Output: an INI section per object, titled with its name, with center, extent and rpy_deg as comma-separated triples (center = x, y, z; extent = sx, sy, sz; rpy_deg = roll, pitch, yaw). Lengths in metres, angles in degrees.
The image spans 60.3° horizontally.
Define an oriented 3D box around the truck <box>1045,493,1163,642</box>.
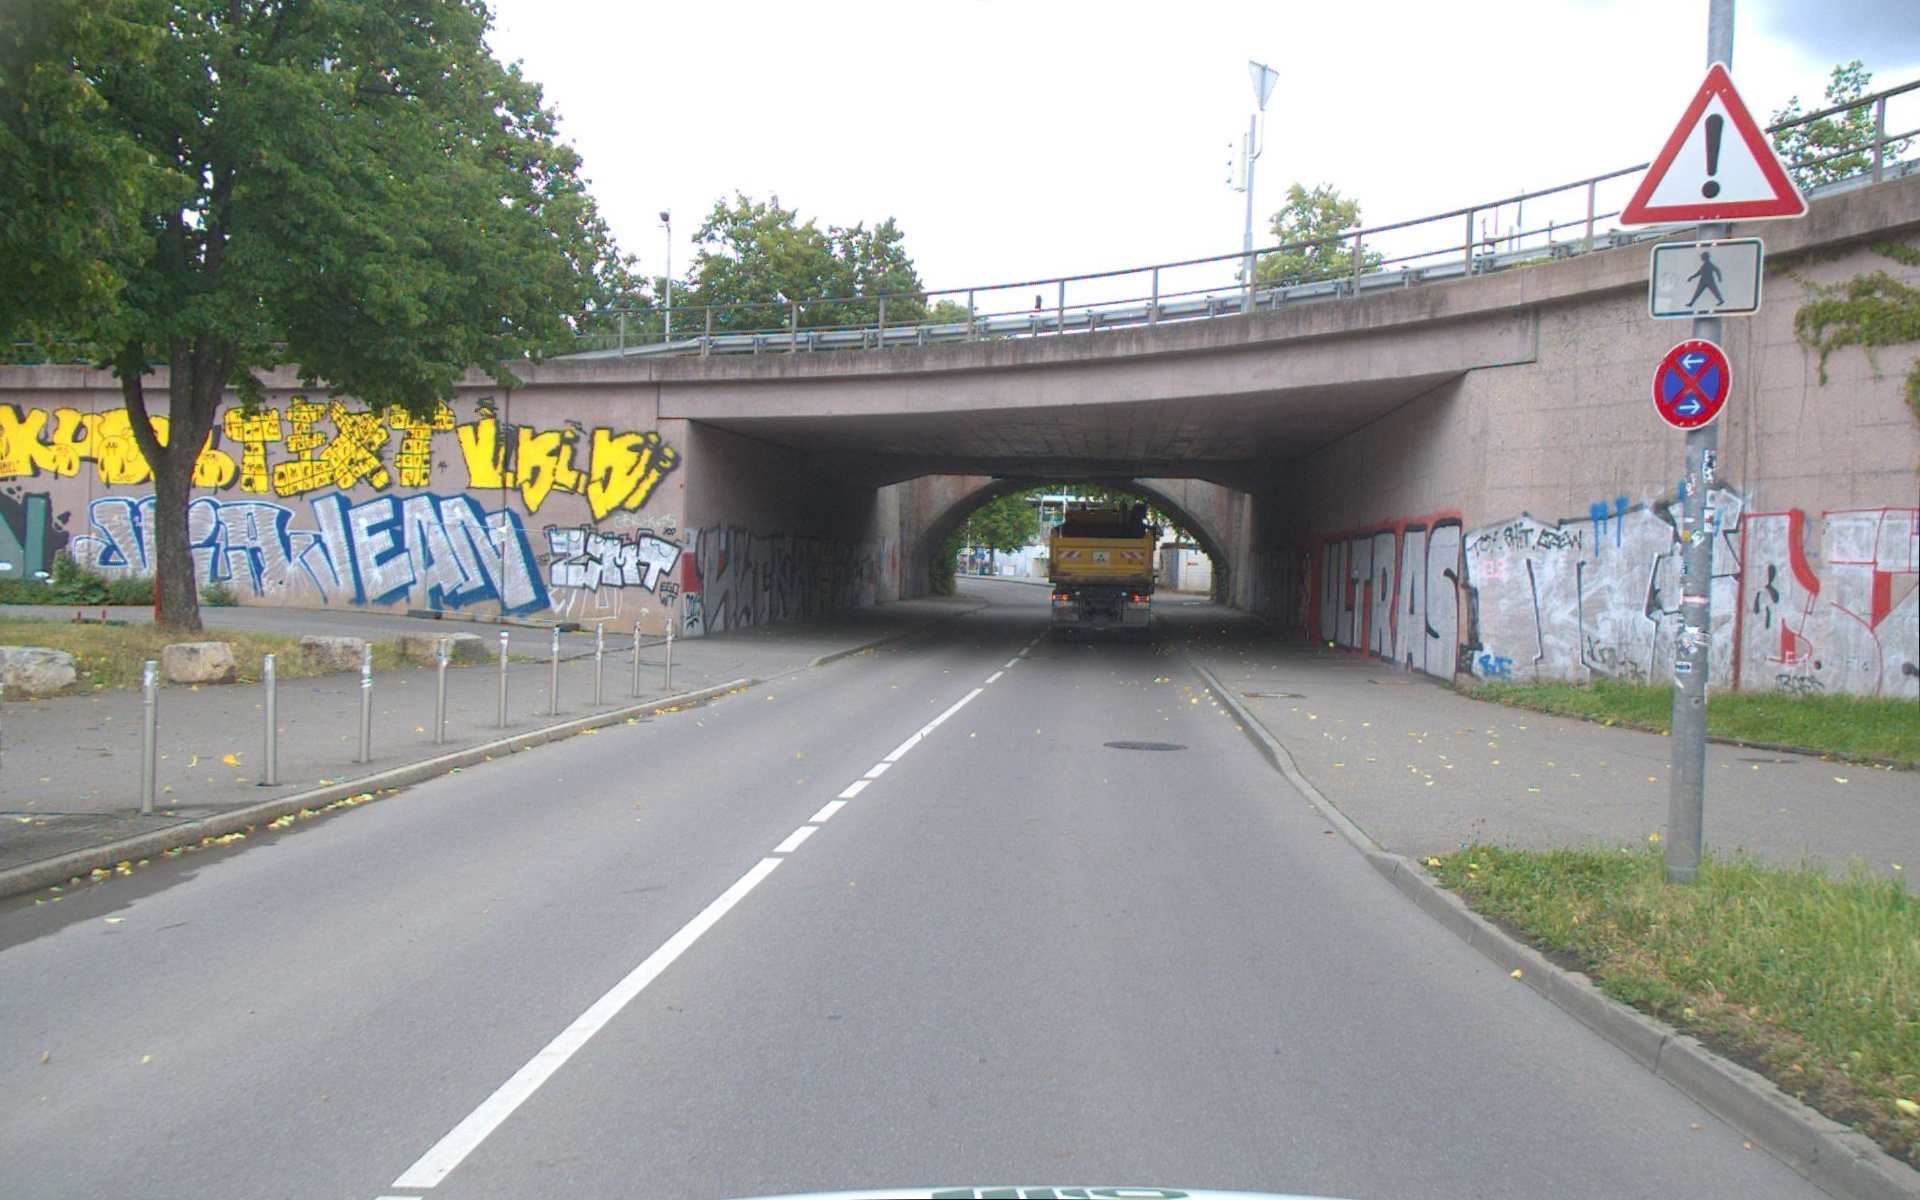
[truck]
center = 3.927, -0.864, 43.475
extent = 2.706, 3.544, 8.136
rpy_deg = 1, 1, 7
